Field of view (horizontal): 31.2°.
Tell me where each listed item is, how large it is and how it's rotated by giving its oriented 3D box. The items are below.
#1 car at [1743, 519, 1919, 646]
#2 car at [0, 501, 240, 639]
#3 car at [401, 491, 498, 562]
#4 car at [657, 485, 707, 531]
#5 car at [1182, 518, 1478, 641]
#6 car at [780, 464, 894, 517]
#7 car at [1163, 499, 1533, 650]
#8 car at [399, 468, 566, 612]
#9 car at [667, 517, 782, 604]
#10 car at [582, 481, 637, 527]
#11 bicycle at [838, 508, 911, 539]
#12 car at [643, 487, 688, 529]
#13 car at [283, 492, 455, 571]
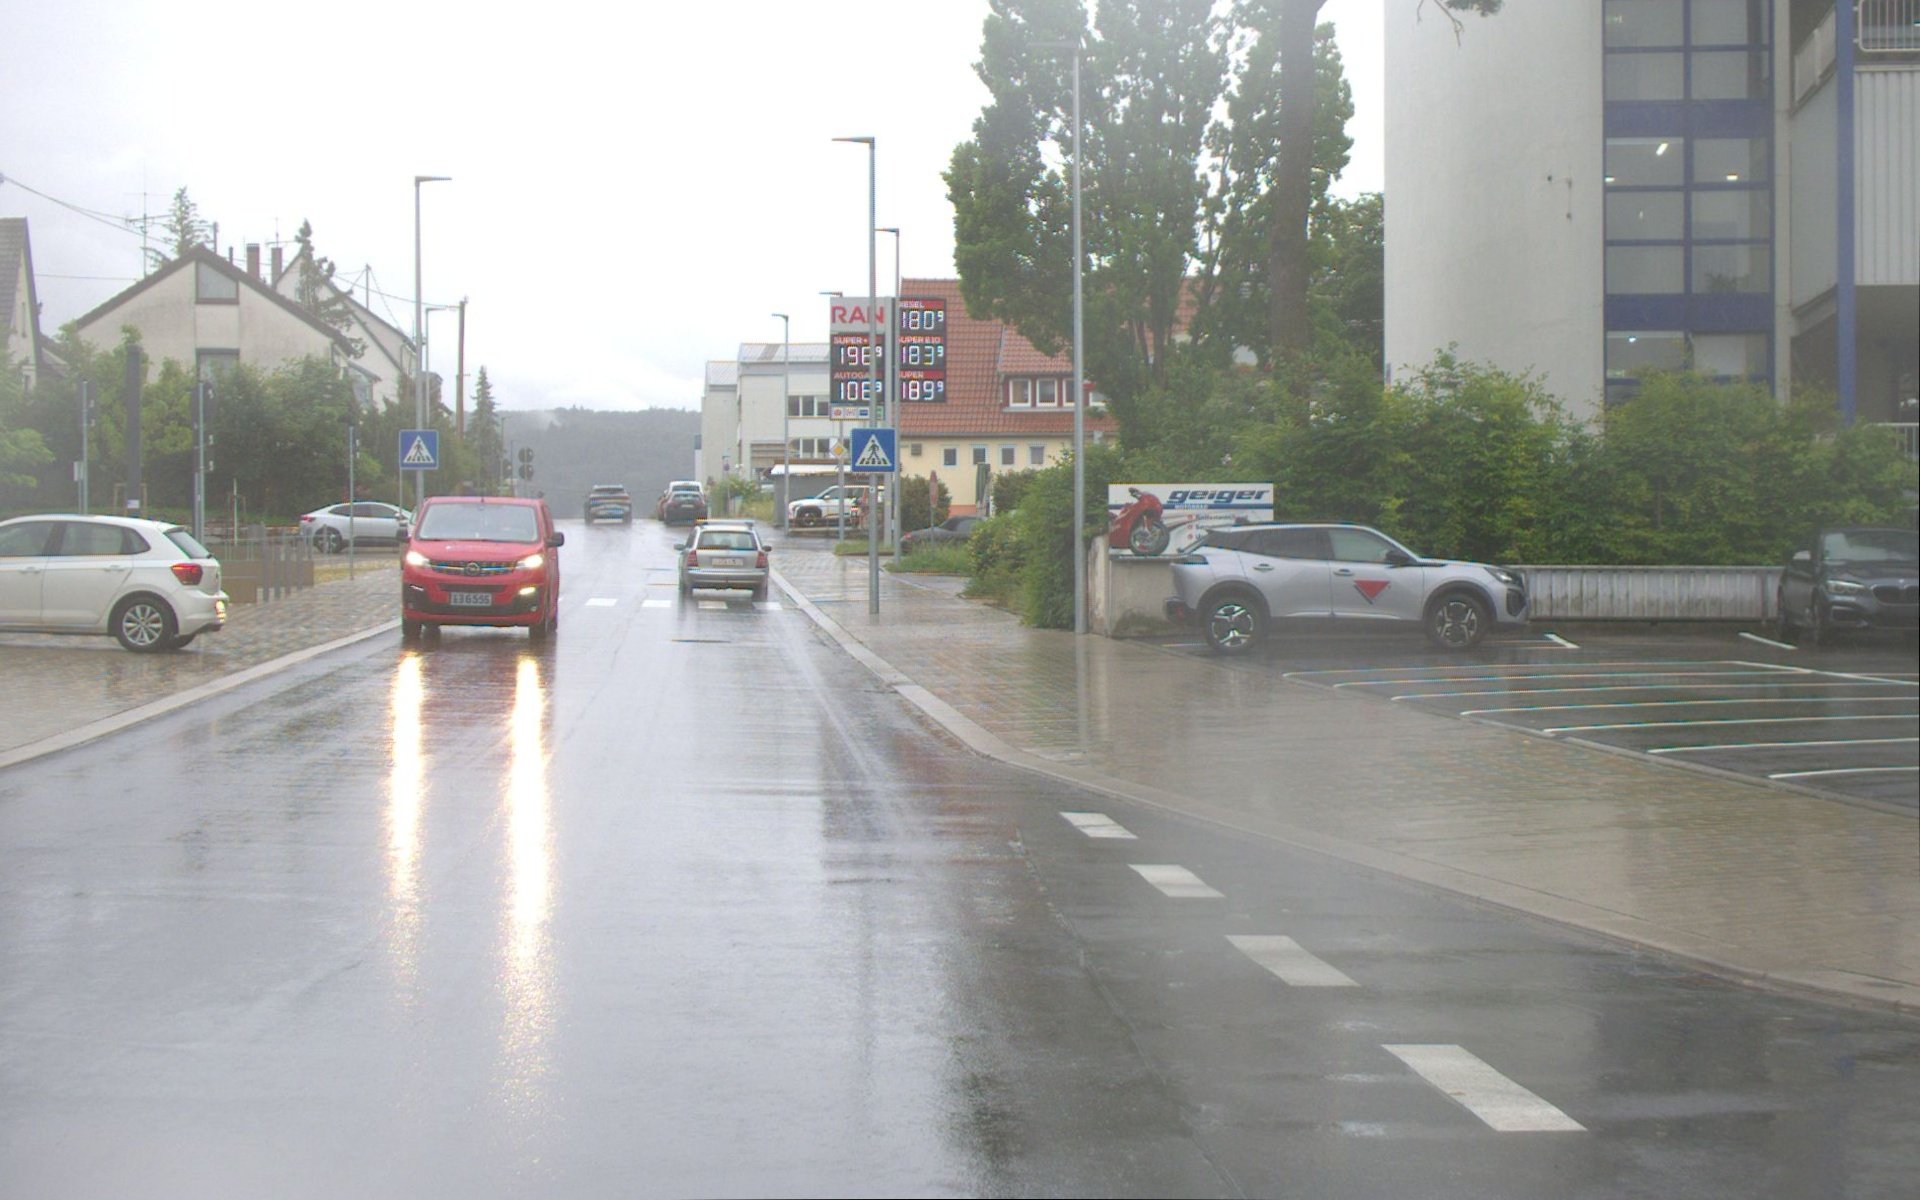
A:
[{"bbox_3d":[10.776,-0.243,41.482,1.933,1.437,4.206,1,1,4],"label":"car"},{"bbox_3d":[-9.819,-0.338,36.723,3.927,1.418,1.898,0,1,-4],"label":"car"},{"bbox_3d":[-11.971,-1.741,80.790,1.993,1.623,4.154,0,2,-5],"label":"car"},{"bbox_3d":[-11.929,-3.923,147.276,1.993,1.700,4.000,4,-1,-5],"label":"car"},{"bbox_3d":[4.639,-0.275,43.349,3.621,1.489,1.806,-1,1,5],"label":"car"},{"bbox_3d":[-4.716,-4.191,131.962,4.111,1.700,1.789,4,-1,-7],"label":"car"},{"bbox_3d":[4.566,-0.316,40.676,4.208,1.644,2.000,-1,1,6],"label":"car"},{"bbox_3d":[-6.357,-0.816,46.198,2.002,1.811,4.980,0,1,-5],"label":"car"},{"bbox_3d":[-4.702,-0.753,68.278,1.948,1.550,4.001,4,-1,-7],"label":"car"},{"bbox_3d":[-15.017,-4.120,147.282,2.154,1.700,4.000,4,-1,-5],"label":"car"},{"bbox_3d":[-3.118,-2.800,125.459,0.668,1.063,3.628,4,-1,-36],"label":"bicycle"},{"bbox_3d":[-13.726,-4.283,160.295,1.993,1.700,4.000,4,-1,-5],"label":"car"},{"bbox_3d":[-17.792,-2.066,103.661,4.753,2.007,2.000,4,-1,-2],"label":"car"}]
